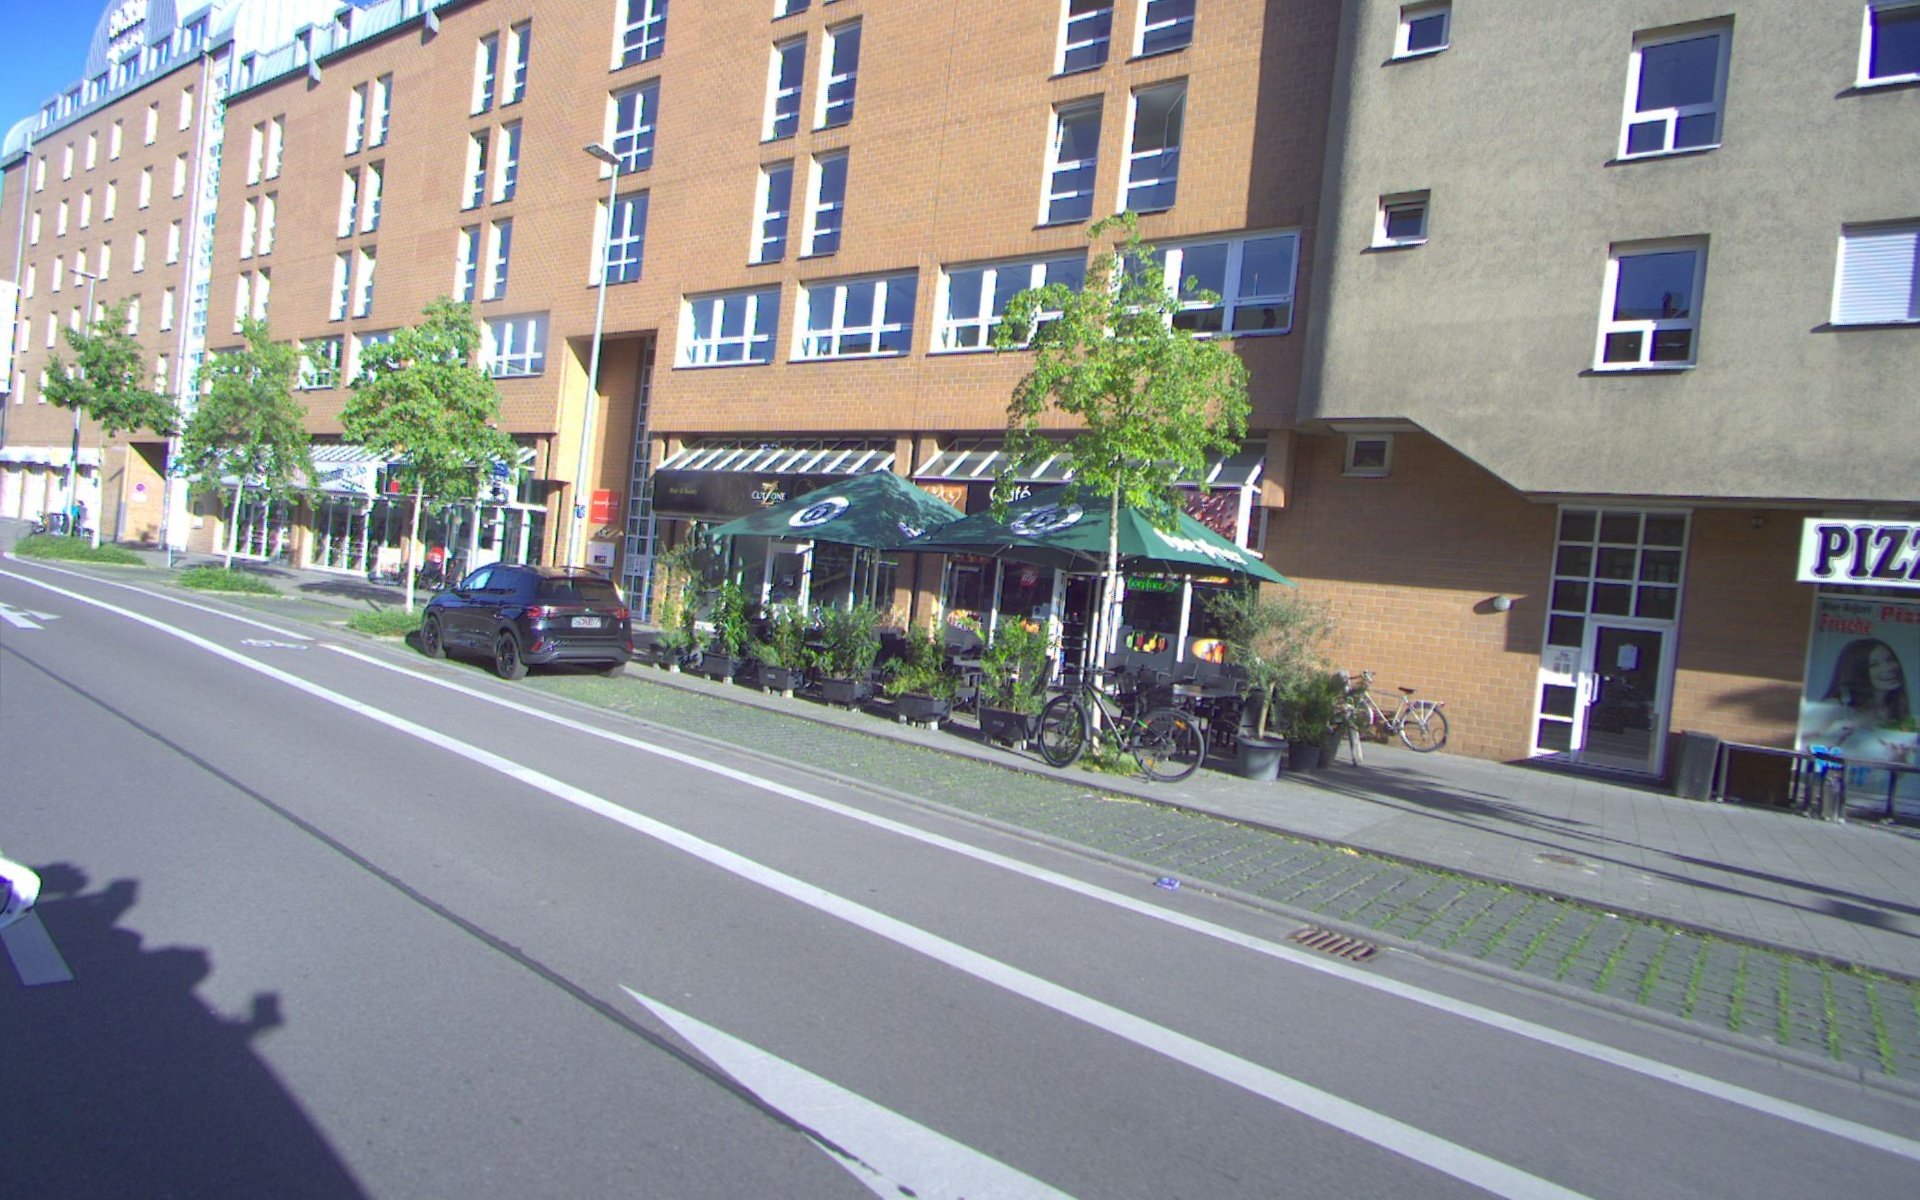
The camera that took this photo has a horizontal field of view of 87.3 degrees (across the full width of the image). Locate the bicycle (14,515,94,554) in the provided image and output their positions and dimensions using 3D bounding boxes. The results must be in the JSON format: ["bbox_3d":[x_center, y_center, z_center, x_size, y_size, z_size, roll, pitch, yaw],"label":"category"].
[{"bbox_3d":[-30.555,-2.211,33.936,0.547,1.088,1.939,6,1,44],"label":"bicycle"}]

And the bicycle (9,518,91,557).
[{"bbox_3d":[-29.775,-2.043,32.950,1.935,1.035,0.496,5,1,-40],"label":"bicycle"}]

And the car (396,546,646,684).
[{"bbox_3d":[-6.759,0.184,15.291,4.170,1.657,1.718,6,1,40],"label":"car"}]

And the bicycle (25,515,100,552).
[{"bbox_3d":[-32.390,-2.401,36.329,0.618,1.088,1.939,6,1,45],"label":"bicycle"}]

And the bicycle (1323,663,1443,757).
[{"bbox_3d":[6.443,1.645,15.352,1.511,1.185,0.614,7,2,30],"label":"bicycle"}]

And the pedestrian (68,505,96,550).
[{"bbox_3d":[-38.171,-3.154,43.749,0.736,1.844,0.606,6,1,33],"label":"pedestrian"}]

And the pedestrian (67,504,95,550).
[{"bbox_3d":[-37.591,-3.112,43.017,0.736,1.844,0.606,6,1,33],"label":"pedestrian"}]

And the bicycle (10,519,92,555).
[{"bbox_3d":[-30.106,-2.079,33.367,1.935,0.981,0.548,5,1,-40],"label":"bicycle"}]

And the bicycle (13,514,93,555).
[{"bbox_3d":[-30.922,-2.222,34.310,0.484,1.151,1.939,6,1,44],"label":"bicycle"}]

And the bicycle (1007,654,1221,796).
[{"bbox_3d":[1.546,1.215,10.232,1.964,1.097,0.765,5,5,30],"label":"bicycle"}]
